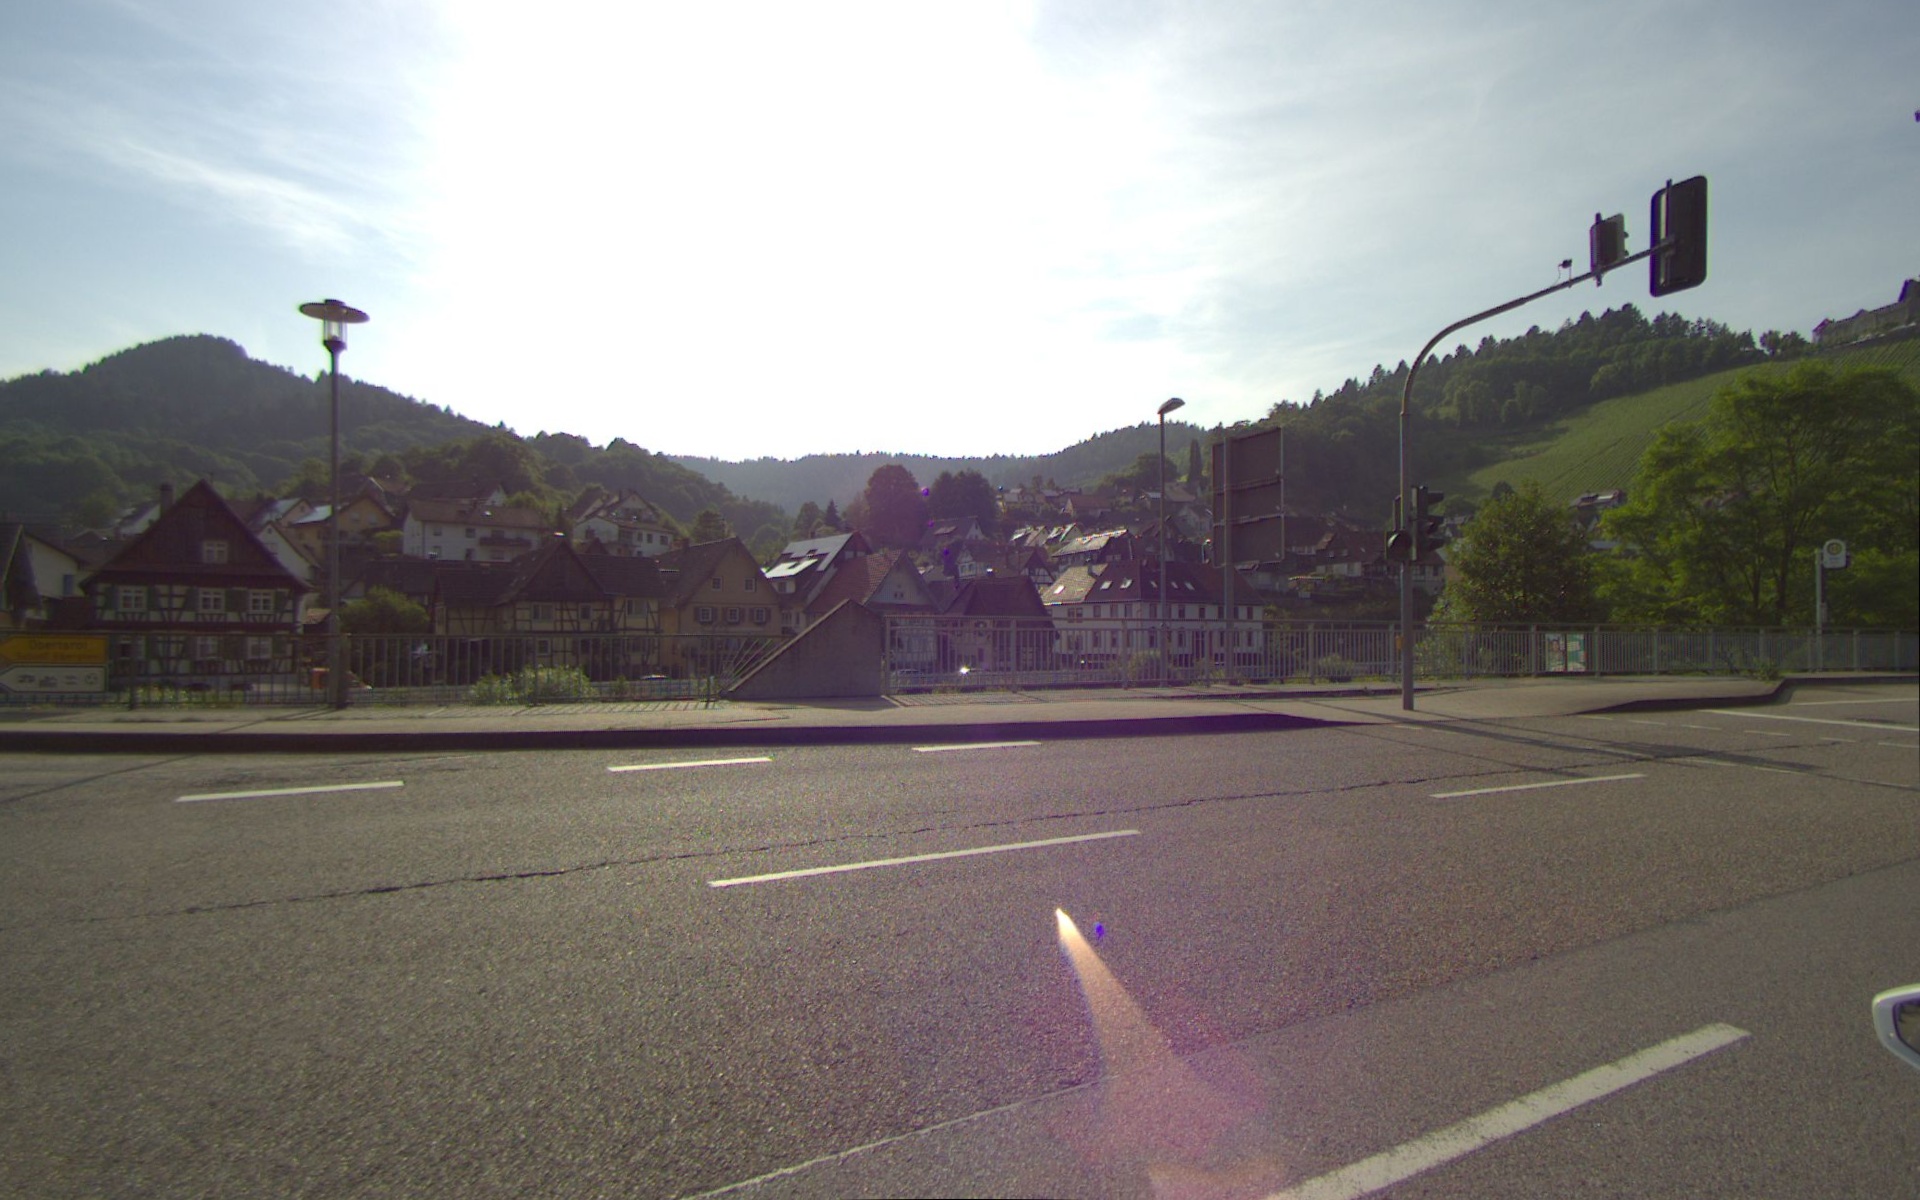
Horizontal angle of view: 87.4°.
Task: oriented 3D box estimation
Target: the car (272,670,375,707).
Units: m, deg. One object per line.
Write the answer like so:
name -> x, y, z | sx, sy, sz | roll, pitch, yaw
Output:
car -> -33.640, 4.645, 53.128 | 4.503, 1.714, 1.481 | 2, -1, -38
